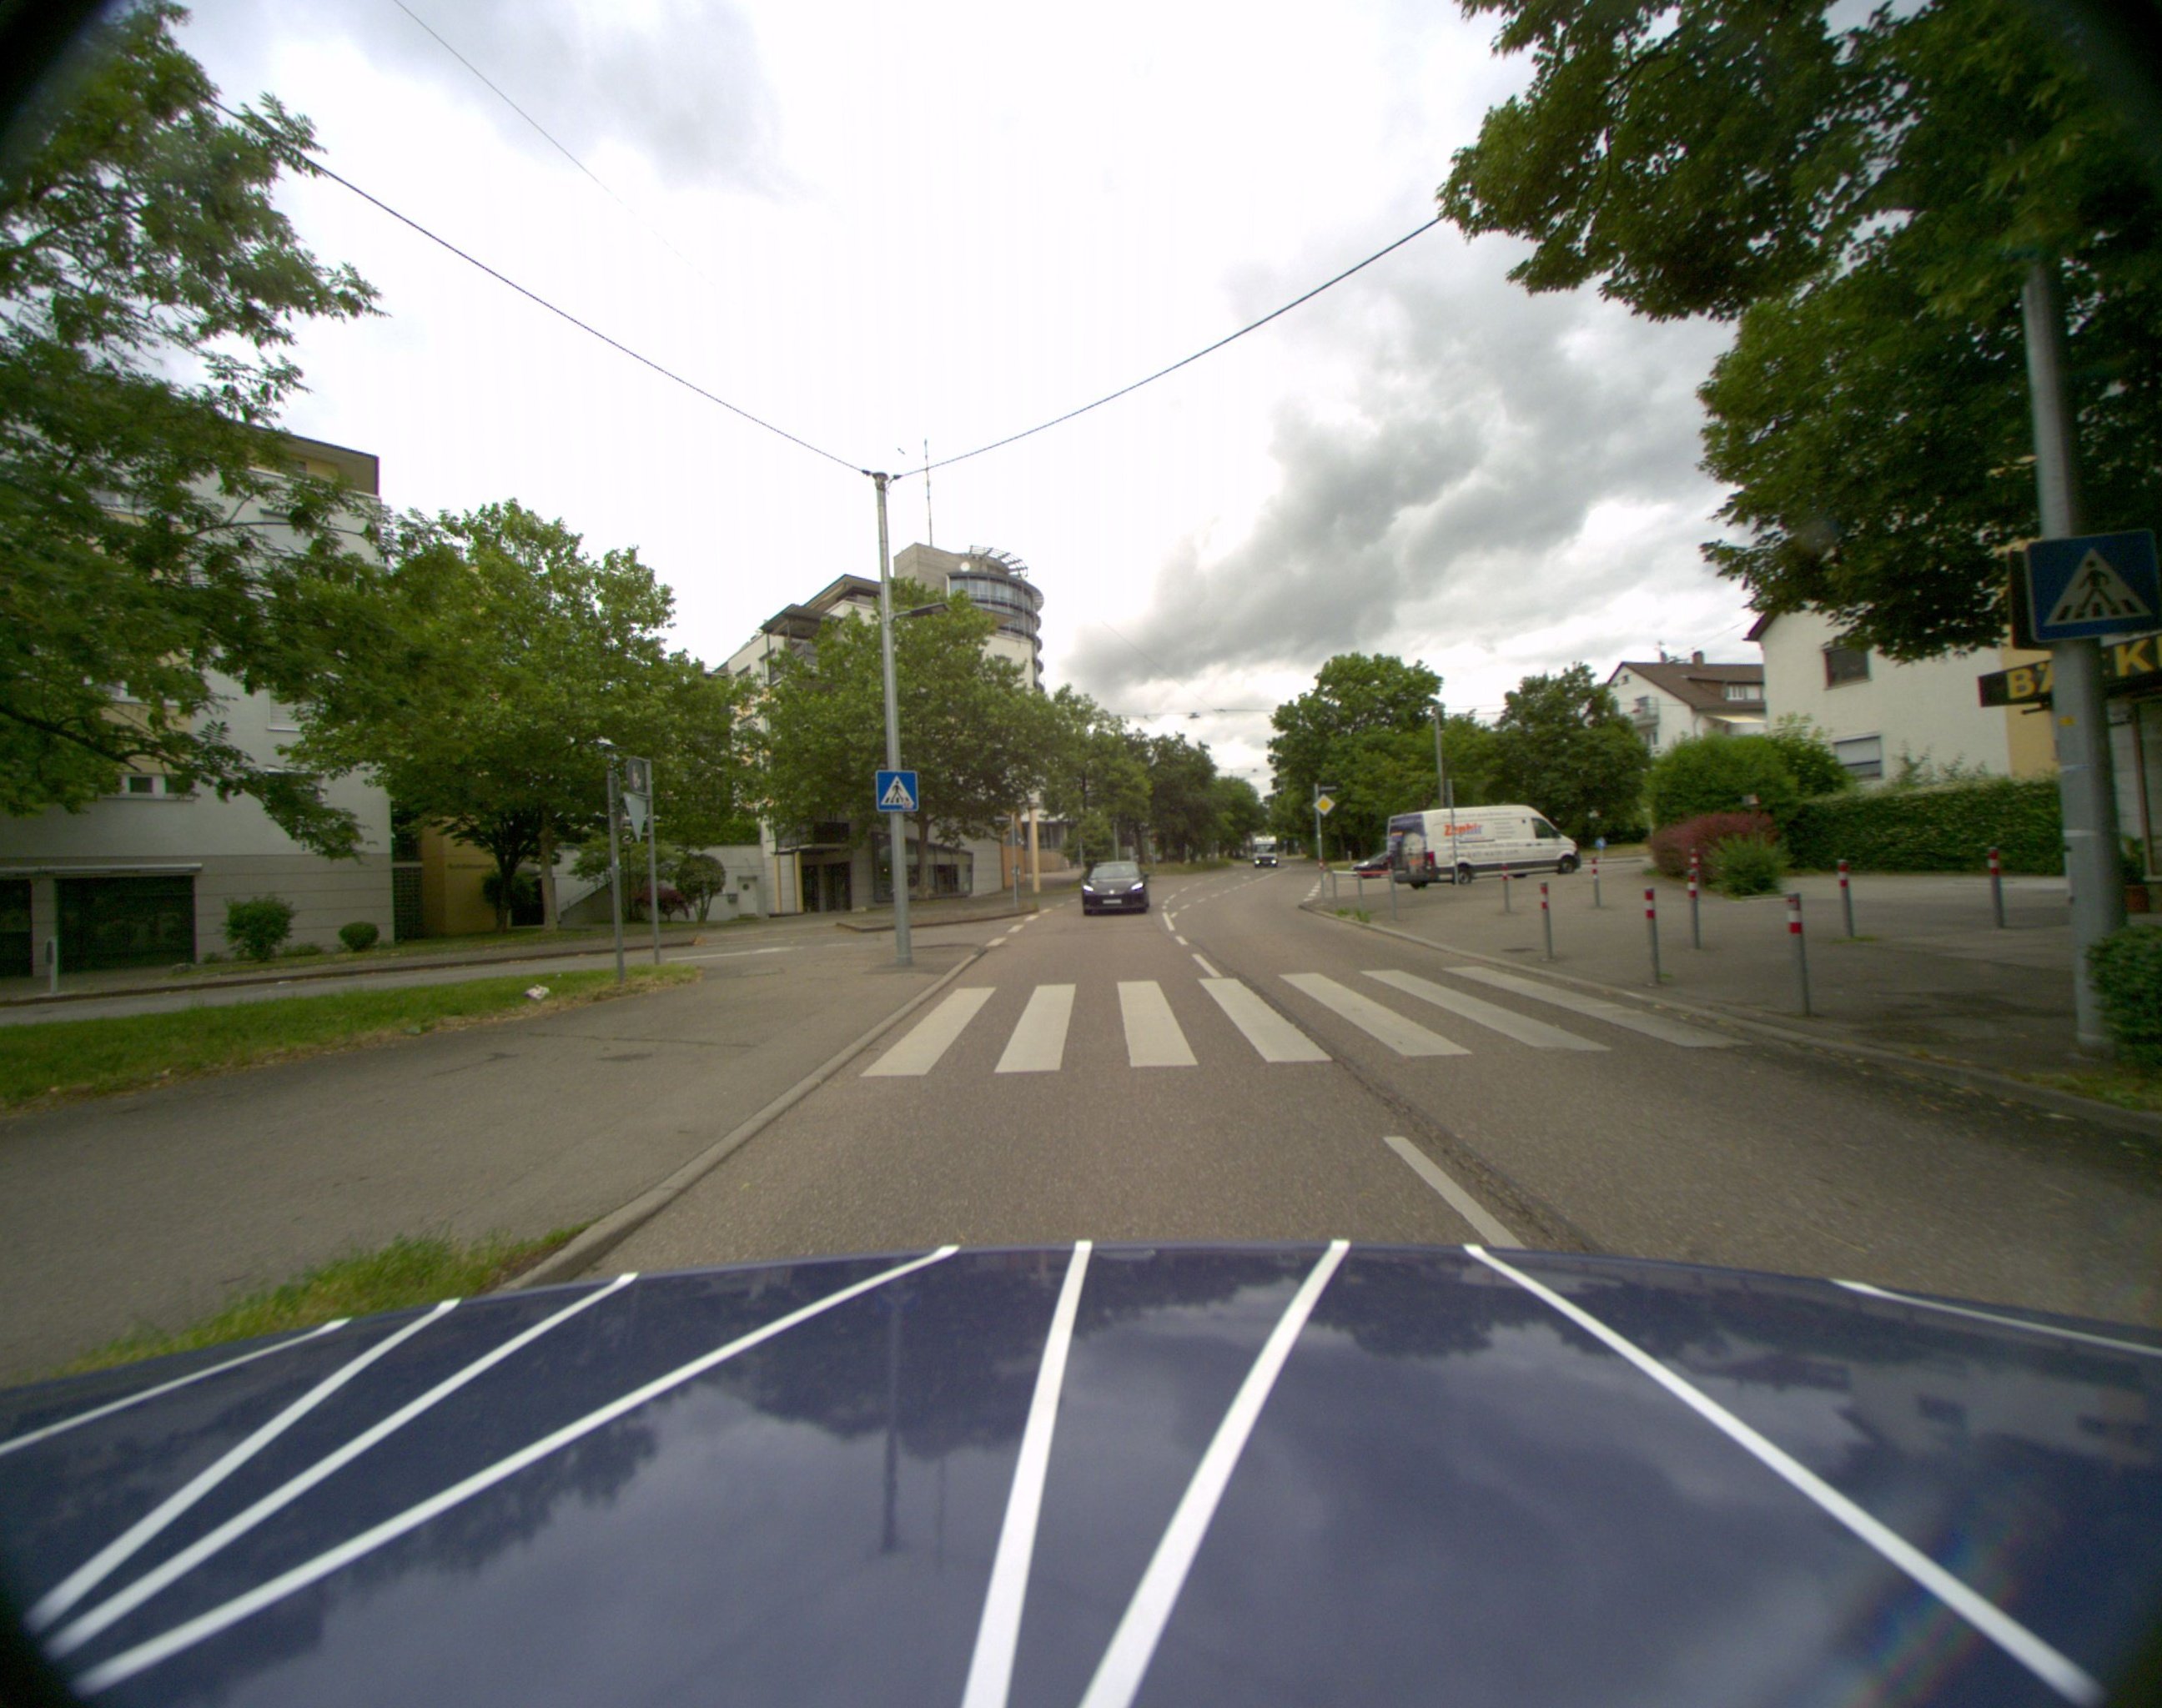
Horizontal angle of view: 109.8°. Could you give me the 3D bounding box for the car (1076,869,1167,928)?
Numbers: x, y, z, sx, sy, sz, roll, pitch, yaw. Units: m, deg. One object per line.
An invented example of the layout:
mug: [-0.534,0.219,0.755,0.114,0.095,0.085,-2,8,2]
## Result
car: [1.308,1.251,22.615,1.798,1.475,4.024,-2,0,16]

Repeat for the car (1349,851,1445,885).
car: [15.069,0.683,36.449,3.993,1.328,1.646,-4,-1,15]

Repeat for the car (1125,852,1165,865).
car: [8.055,0.606,95.555,4.749,1.508,1.867,-2,0,-26]

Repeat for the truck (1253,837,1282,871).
truck: [19.182,-0.029,77.924,2.433,3.176,6.474,-3,0,17]

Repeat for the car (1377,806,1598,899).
car: [13.436,-0.068,25.097,6.986,2.506,2.082,-4,-2,-19]
